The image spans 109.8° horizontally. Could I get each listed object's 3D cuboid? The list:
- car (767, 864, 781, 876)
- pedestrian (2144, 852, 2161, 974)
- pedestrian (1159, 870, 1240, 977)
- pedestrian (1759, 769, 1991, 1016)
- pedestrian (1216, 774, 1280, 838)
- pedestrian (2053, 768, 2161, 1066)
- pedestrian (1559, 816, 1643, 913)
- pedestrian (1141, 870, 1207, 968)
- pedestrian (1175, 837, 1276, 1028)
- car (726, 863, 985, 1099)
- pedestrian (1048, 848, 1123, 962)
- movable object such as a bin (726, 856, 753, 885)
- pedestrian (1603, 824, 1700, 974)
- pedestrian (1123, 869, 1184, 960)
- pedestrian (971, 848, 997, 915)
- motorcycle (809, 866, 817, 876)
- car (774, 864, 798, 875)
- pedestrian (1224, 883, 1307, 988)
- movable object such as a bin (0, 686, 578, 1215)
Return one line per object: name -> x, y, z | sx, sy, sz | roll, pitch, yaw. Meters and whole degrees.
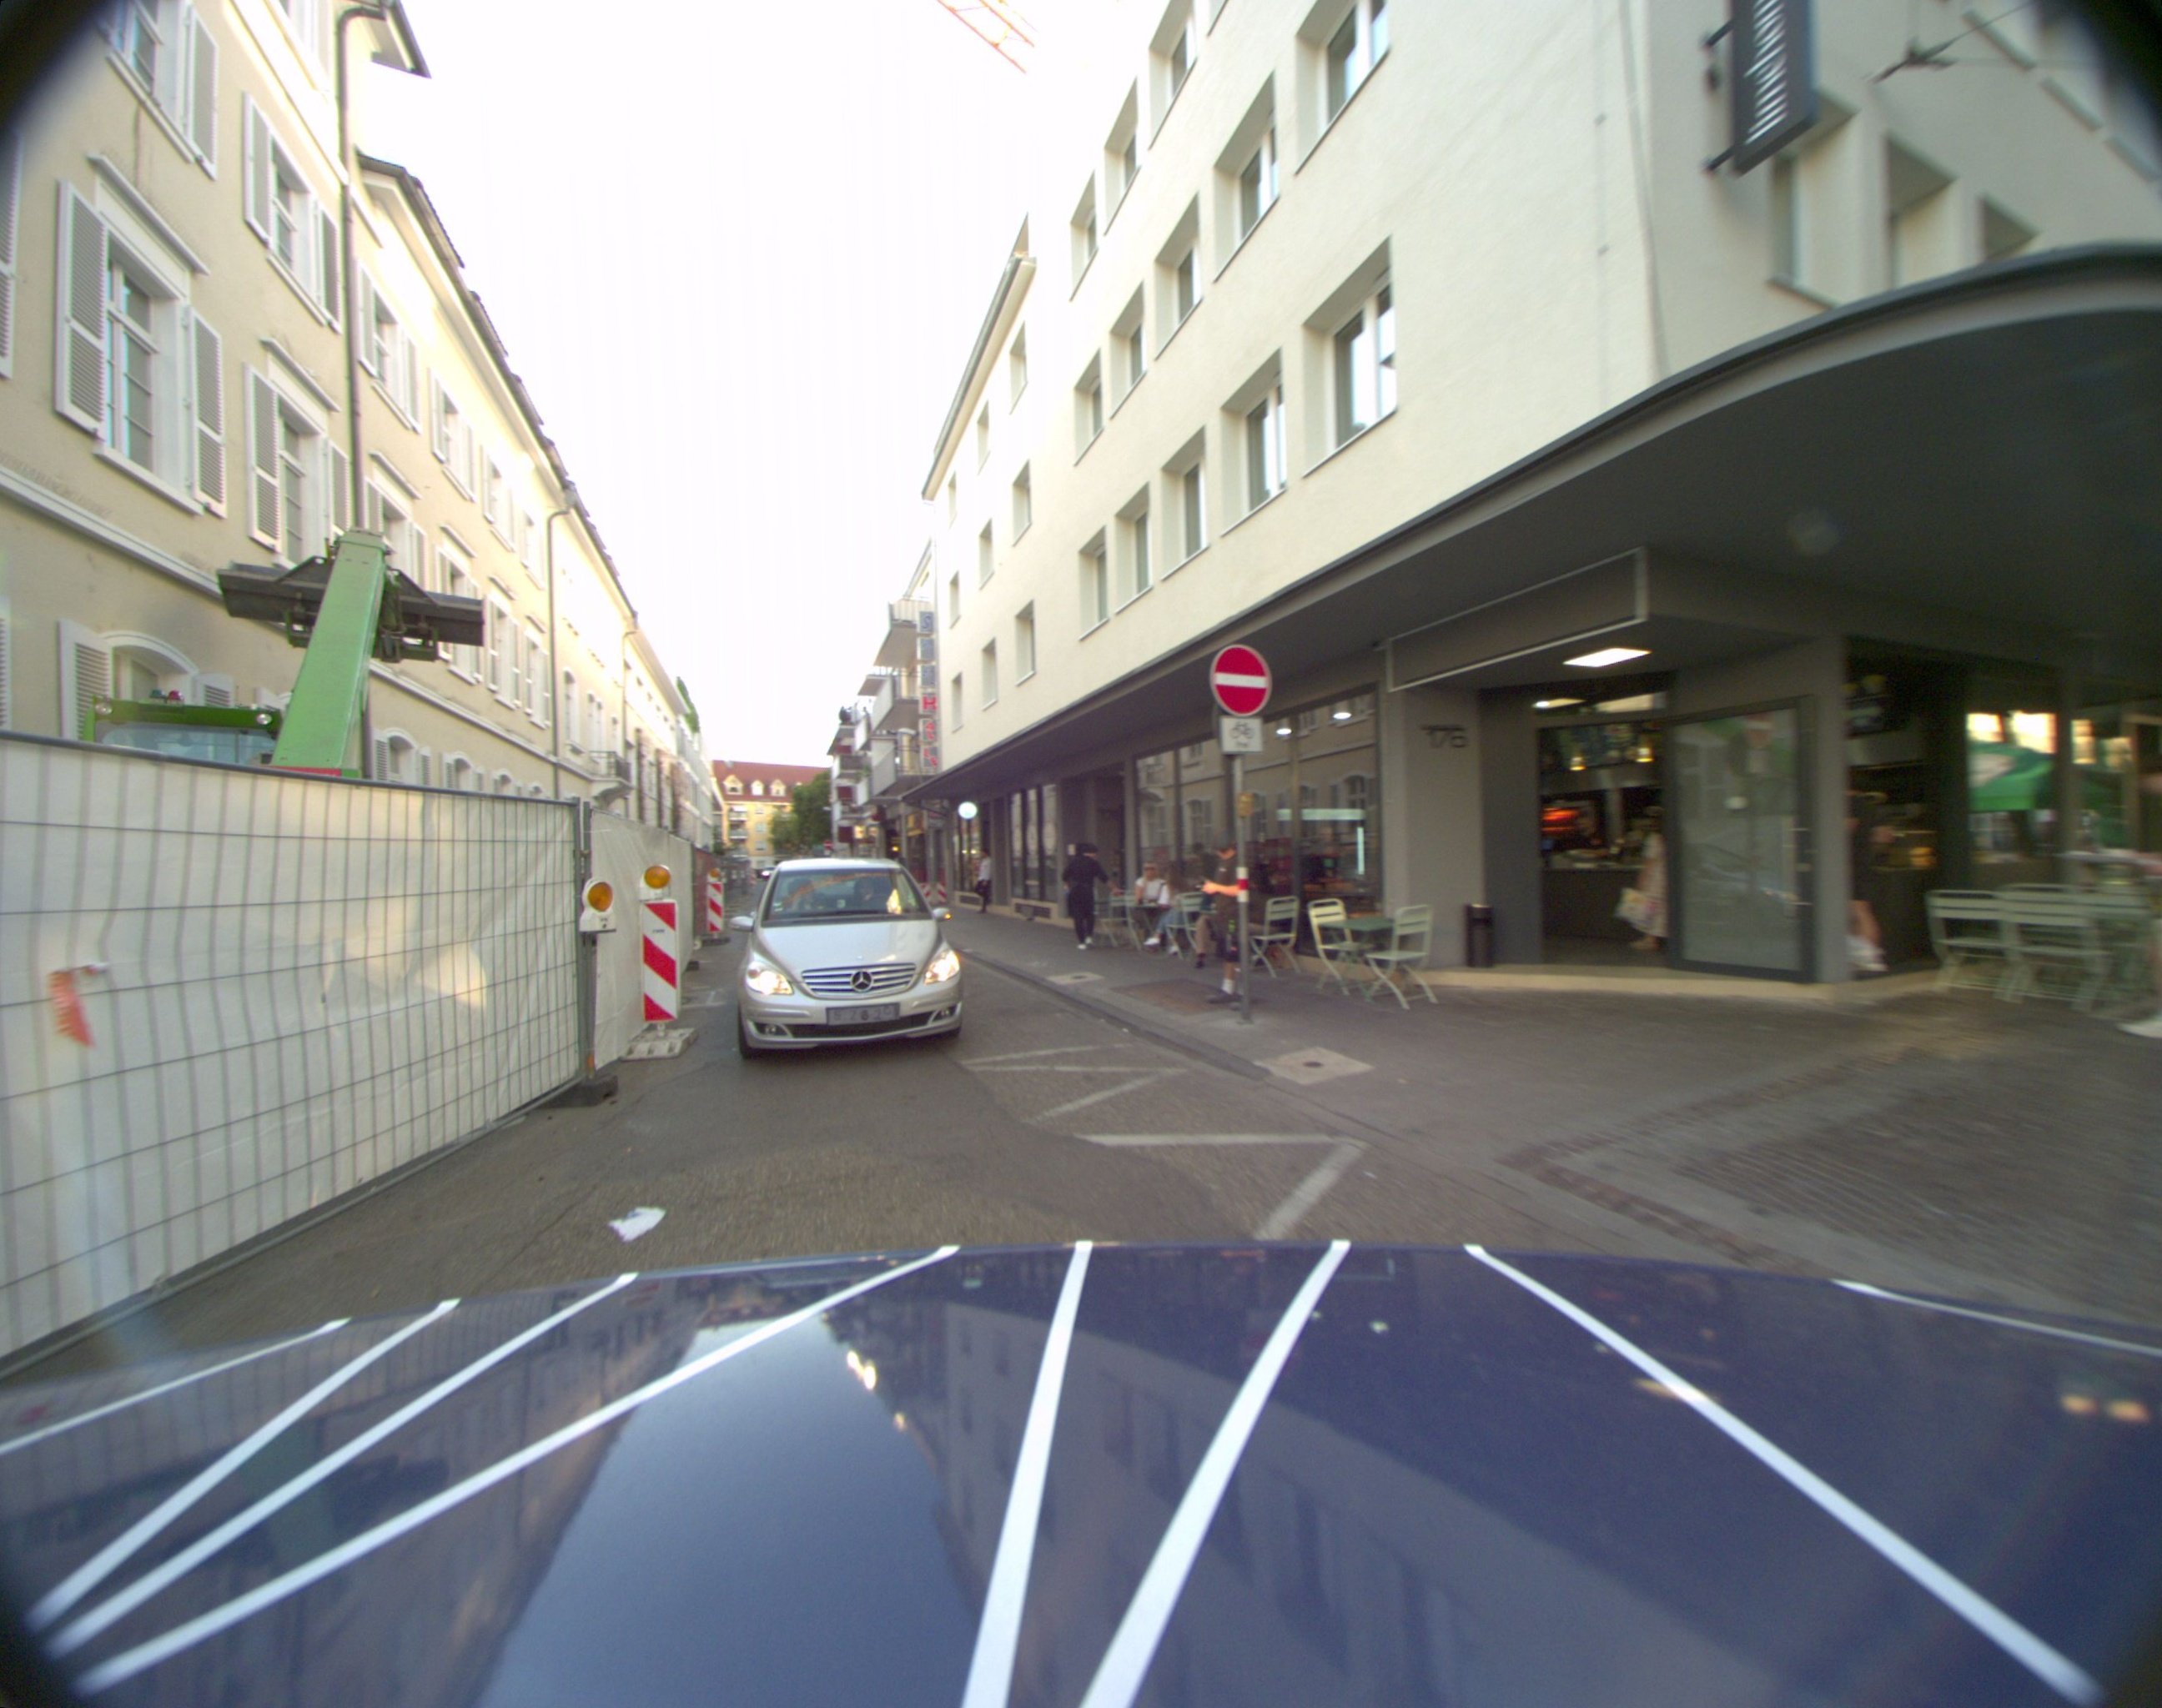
car -> -36.367, 1.873, 89.931 | 1.542, 1.317, 3.347 | -1, 0, -22
pedestrian -> 11.760, 0.618, 7.928 | 0.674, 1.253, 0.652 | -3, 1, -26
pedestrian -> 1.500, 0.854, 9.683 | 0.705, 1.268, 0.712 | -3, 1, -22
pedestrian -> 6.752, 0.299, 6.504 | 1.031, 1.890, 1.067 | 0, 0, -23
pedestrian -> 6.088, -1.637, 27.373 | 1.996, 2.001, 4.005 | -1, 0, 16
pedestrian -> 7.363, 0.399, 4.923 | 1.031, 1.890, 1.067 | 0, 0, -23
pedestrian -> 7.096, 0.135, 10.379 | 0.674, 1.253, 0.652 | -3, 1, -26
pedestrian -> 1.284, 0.872, 10.548 | 0.575, 1.268, 0.712 | -3, 1, -22
pedestrian -> 1.333, 0.690, 7.029 | 0.685, 1.658, 0.507 | -2, 2, 44
car -> -2.393, 0.933, 7.528 | 1.808, 1.607, 4.265 | 0, -1, -22
pedestrian -> 0.065, 0.762, 11.848 | 0.799, 1.658, 0.900 | -3, 1, -24
movable object such as a bin -> -33.727, 1.644, 75.071 | 2.024, 2.608, 5.741 | -4, 0, -22
pedestrian -> 6.245, 0.470, 8.356 | 0.751, 1.563, 0.603 | -1, 0, 27
pedestrian -> 1.067, 0.877, 11.280 | 0.575, 1.268, 0.712 | -3, 1, -22
pedestrian -> -2.687, 0.748, 21.002 | 0.533, 1.823, 0.561 | -1, 0, -28
motorcycle -> -37.946, 2.444, 107.630 | 0.860, 1.345, 1.957 | -1, 0, -13
car -> -45.262, 2.342, 116.645 | 1.831, 1.459, 4.316 | 0, 1, -44
pedestrian -> 2.118, 0.910, 8.768 | 0.575, 1.107, 0.712 | -3, 1, -22
movable object such as a bin -> -6.233, 0.542, 6.258 | 2.616, 2.822, 4.442 | 0, 0, -22
